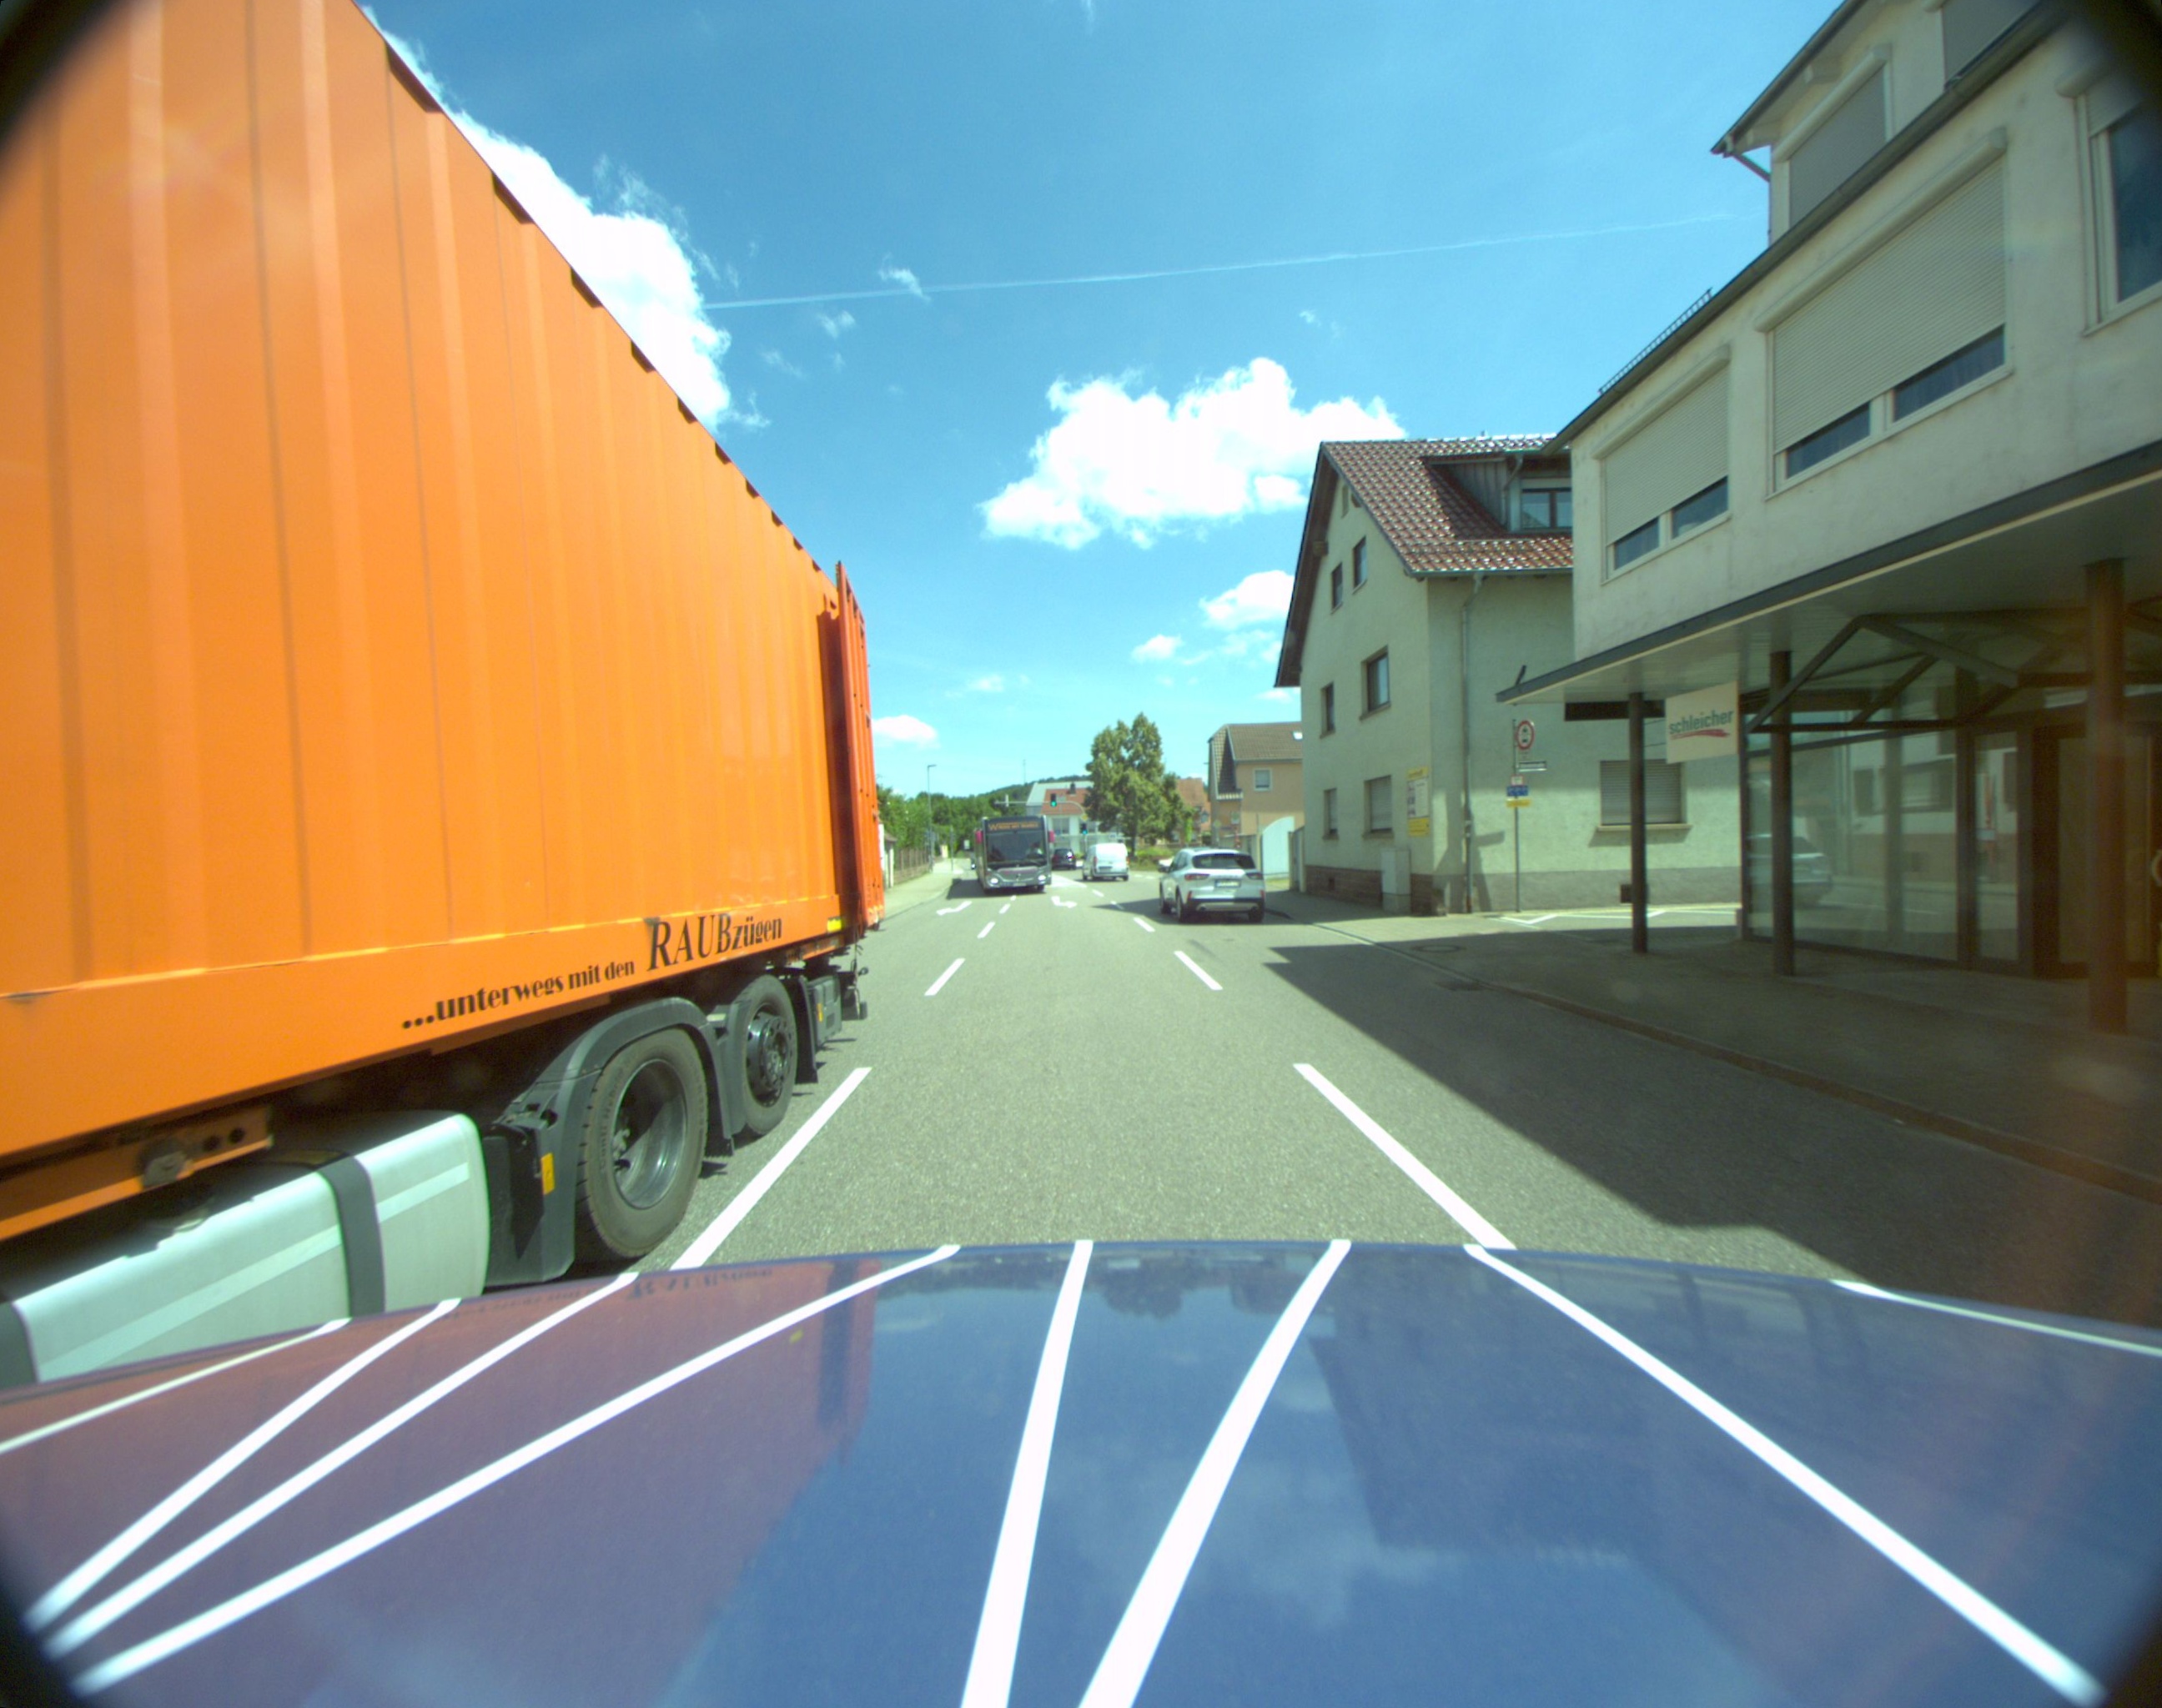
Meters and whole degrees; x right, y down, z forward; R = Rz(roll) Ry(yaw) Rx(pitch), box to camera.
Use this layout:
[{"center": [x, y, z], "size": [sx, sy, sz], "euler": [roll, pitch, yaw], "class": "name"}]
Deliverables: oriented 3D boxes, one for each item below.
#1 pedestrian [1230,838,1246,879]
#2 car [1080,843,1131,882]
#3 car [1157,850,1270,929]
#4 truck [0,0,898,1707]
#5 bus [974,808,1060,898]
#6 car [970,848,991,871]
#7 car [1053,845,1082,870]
[{"center": [6.914, 0.201, 33.417], "size": [0.472, 1.754, 0.478], "euler": [-2, 1, -23], "class": "pedestrian"}, {"center": [1.142, 0.367, 38.033], "size": [1.788, 1.819, 4.596], "euler": [-1, 1, -8], "class": "car"}, {"center": [2.918, 0.711, 17.637], "size": [1.823, 1.546, 4.197], "euler": [0, 1, -1], "class": "car"}, {"center": [-3.117, -0.090, 1.954], "size": [2.615, 3.922, 9.992], "euler": [-4, 0, 0], "class": "truck"}, {"center": [-3.660, -0.129, 37.334], "size": [2.861, 3.186, 19.015], "euler": [-2, 1, -9], "class": "bus"}, {"center": [-8.707, 0.429, 65.705], "size": [1.788, 1.819, 4.348], "euler": [-1, 1, -8], "class": "car"}, {"center": [-1.011, 0.220, 54.396], "size": [1.753, 1.602, 3.997], "euler": [-2, 1, -5], "class": "car"}]
